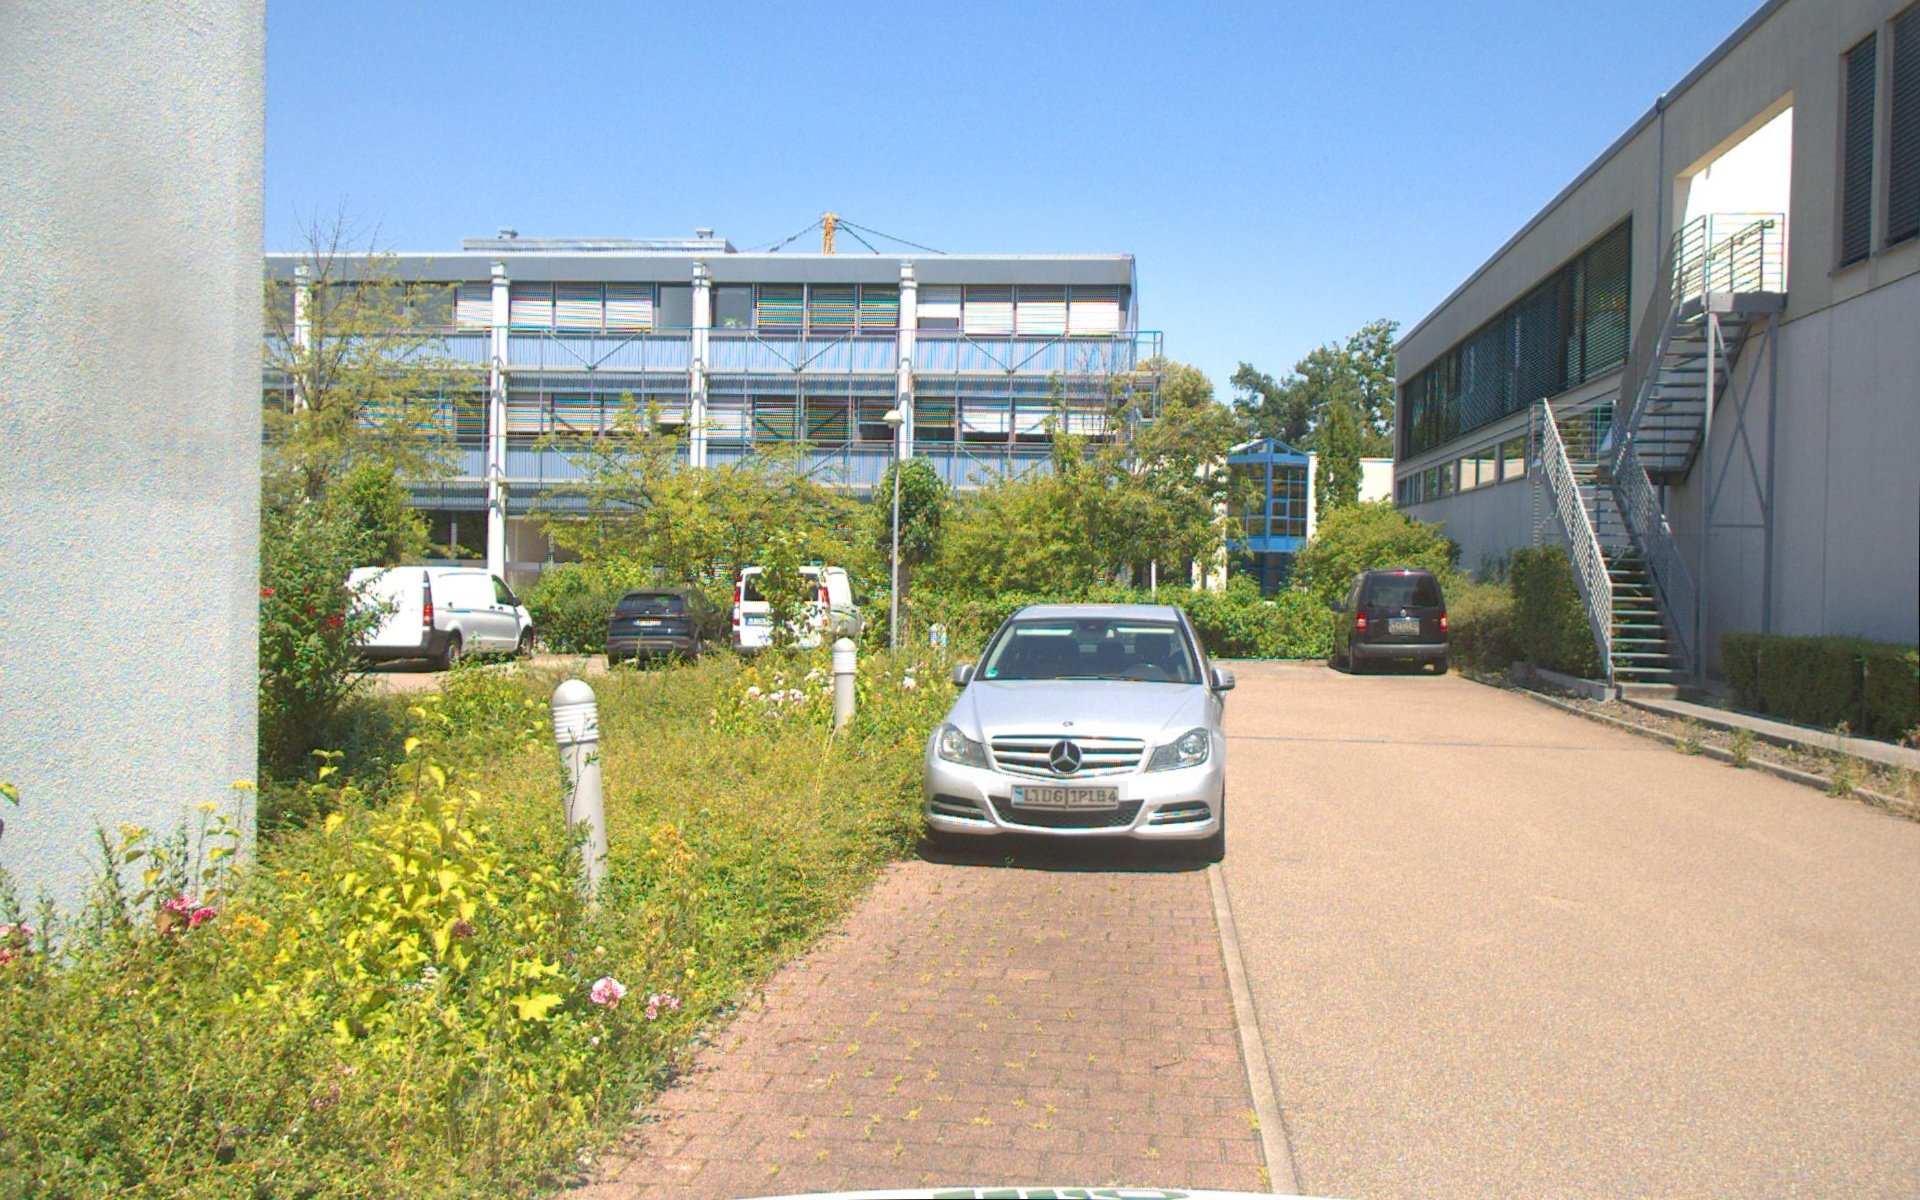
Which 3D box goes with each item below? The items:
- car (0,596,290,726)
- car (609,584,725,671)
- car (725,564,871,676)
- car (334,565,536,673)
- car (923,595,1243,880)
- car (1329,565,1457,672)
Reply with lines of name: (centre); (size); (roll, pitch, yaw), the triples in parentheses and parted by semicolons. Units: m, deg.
car: (-10.952, 0.723, 22.113); (1.818, 1.498, 4.487); (0, 1, 6)
car: (-5.607, 0.477, 32.073); (1.719, 1.502, 3.998); (0, 1, -3)
car: (-2.953, 0.292, 31.207); (1.872, 1.938, 4.811); (0, 1, 5)
car: (-10.032, 0.283, 32.049); (1.841, 1.924, 4.808); (0, 1, 8)
car: (0.967, 0.714, 10.829); (1.692, 1.482, 4.151); (0, 0, 9)
car: (8.021, 0.301, 30.943); (1.706, 1.869, 4.003); (0, 1, 6)
